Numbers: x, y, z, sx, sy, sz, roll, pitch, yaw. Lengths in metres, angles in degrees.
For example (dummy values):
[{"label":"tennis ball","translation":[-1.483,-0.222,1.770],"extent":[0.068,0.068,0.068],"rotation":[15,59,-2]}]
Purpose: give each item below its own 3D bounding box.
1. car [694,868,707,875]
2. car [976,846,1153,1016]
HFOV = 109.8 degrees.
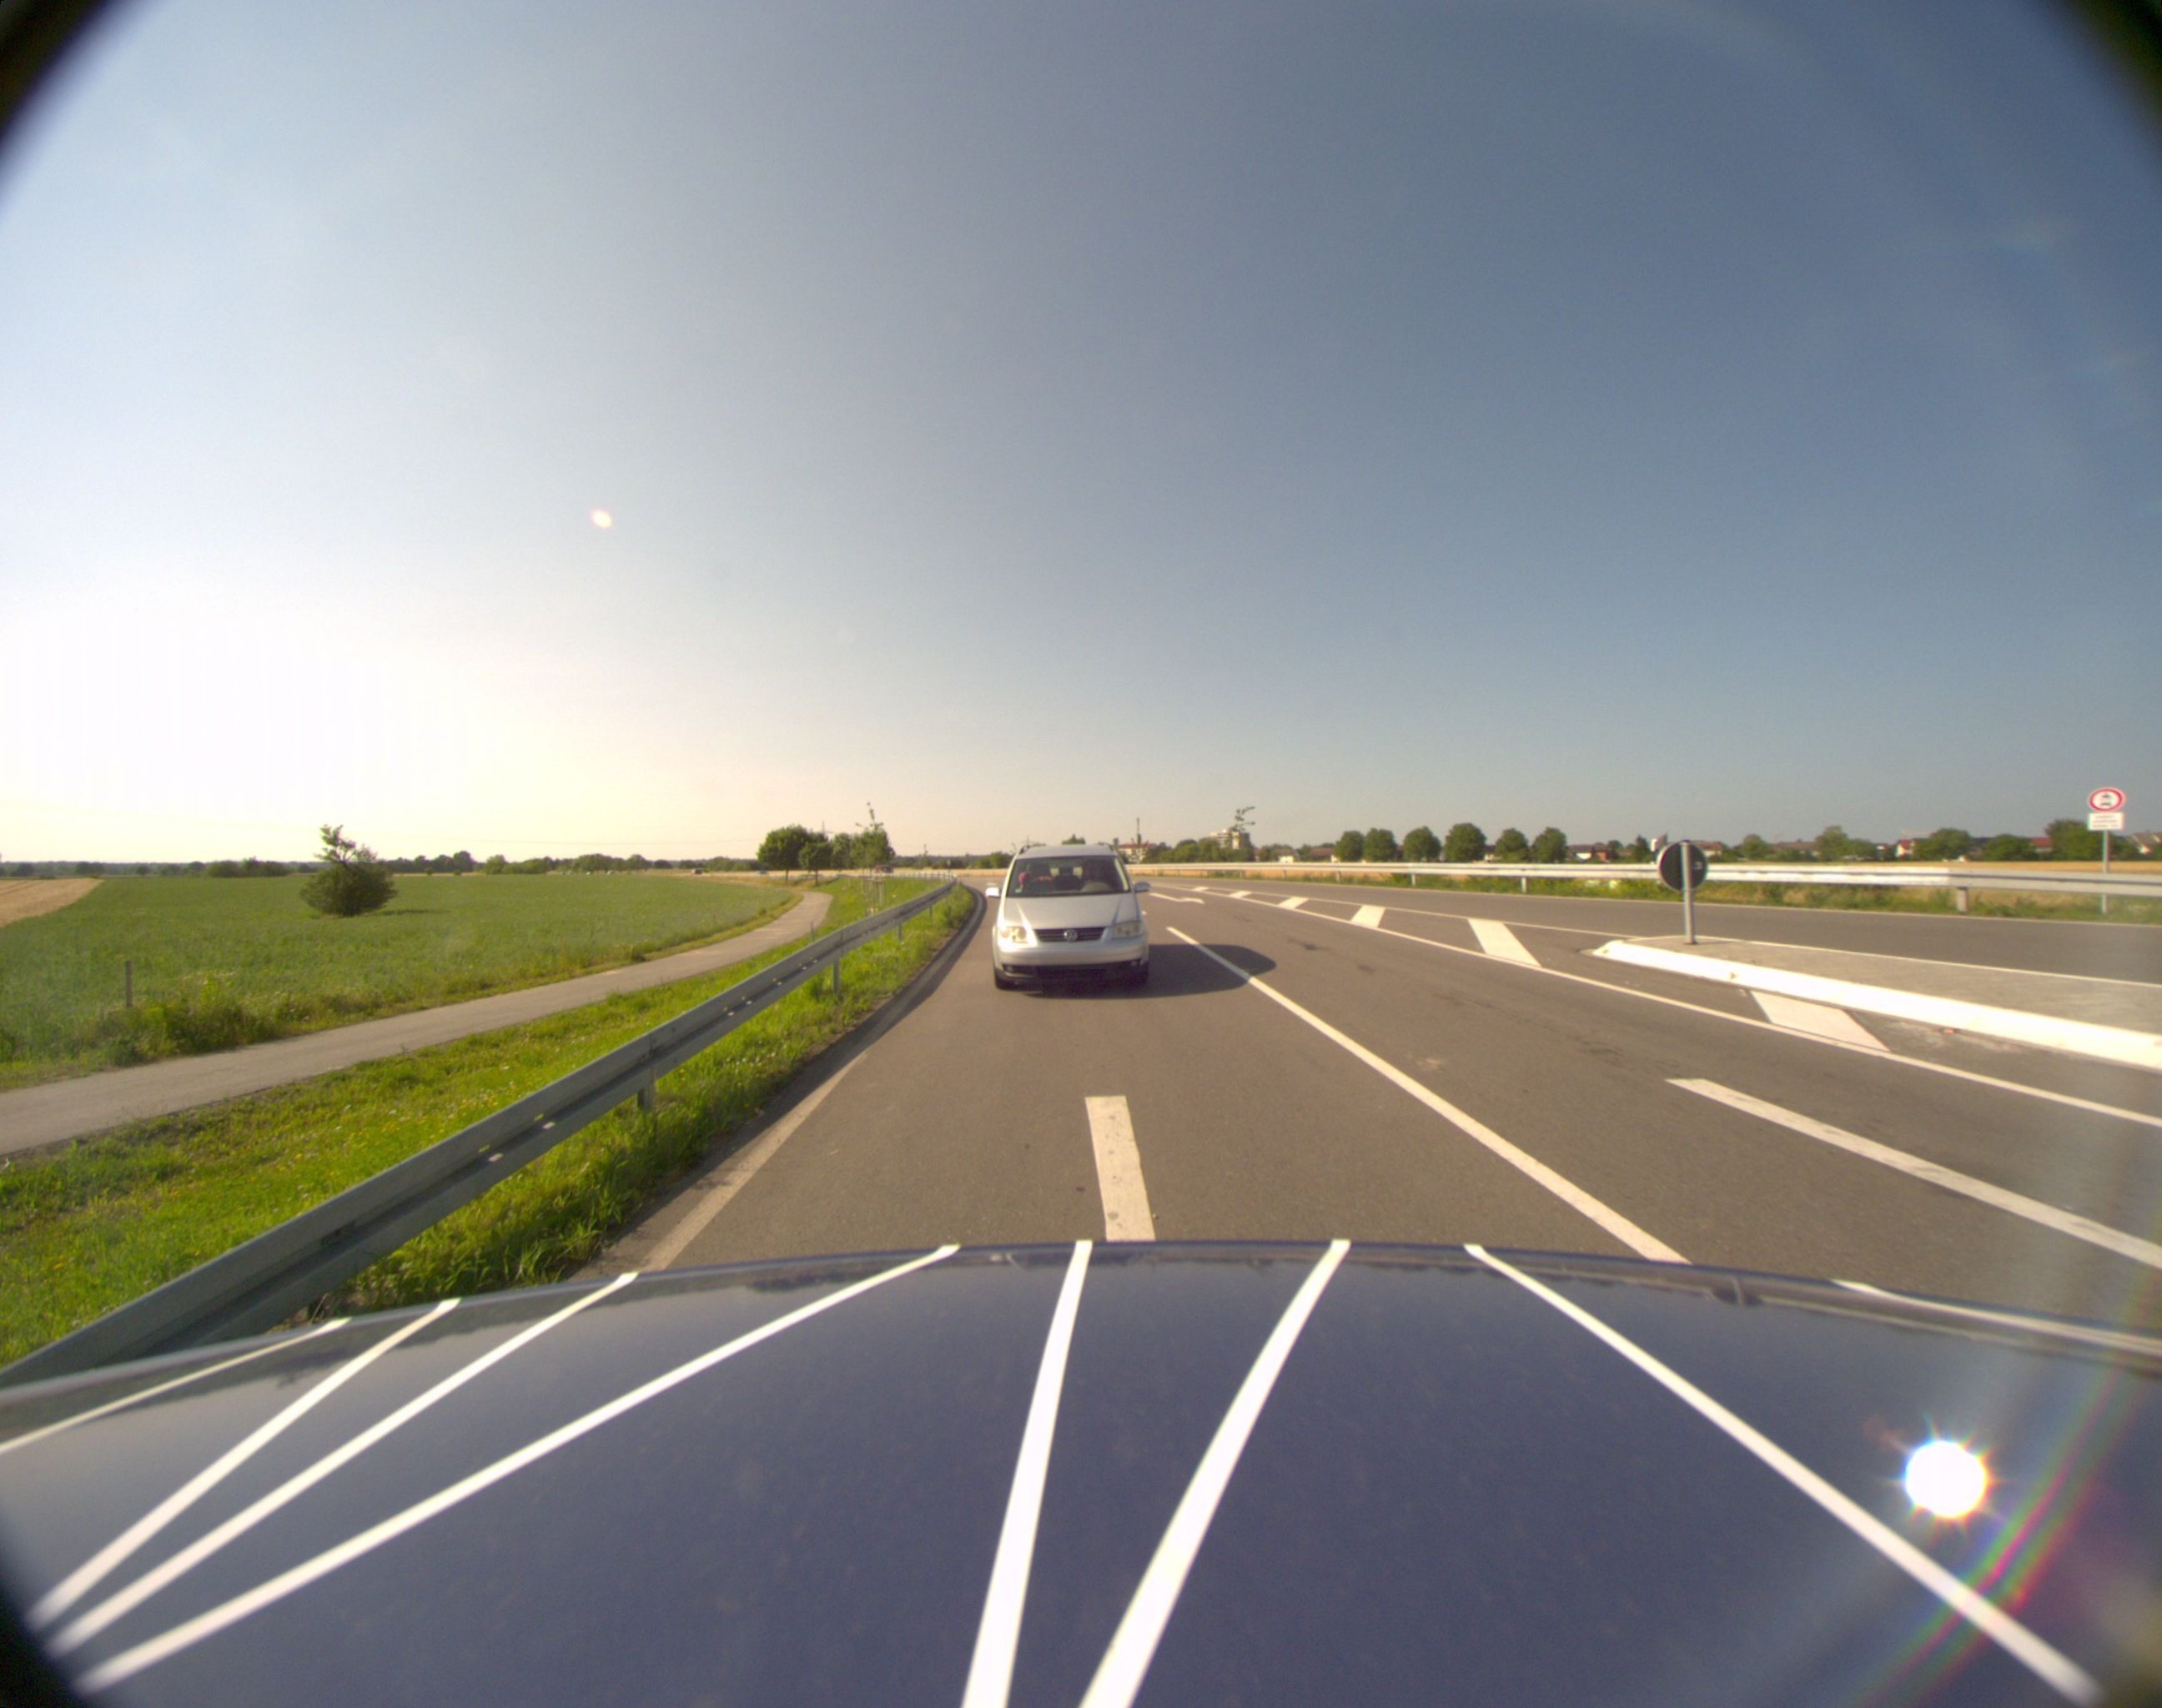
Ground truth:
[{"label":"car","translation":[-99.805,4.541,199.167],"extent":[3.989,1.663,1.818],"rotation":[-1,1,44]},{"label":"car","translation":[-0.163,0.773,9.887],"extent":[1.755,1.685,4.214],"rotation":[-2,1,0]}]
